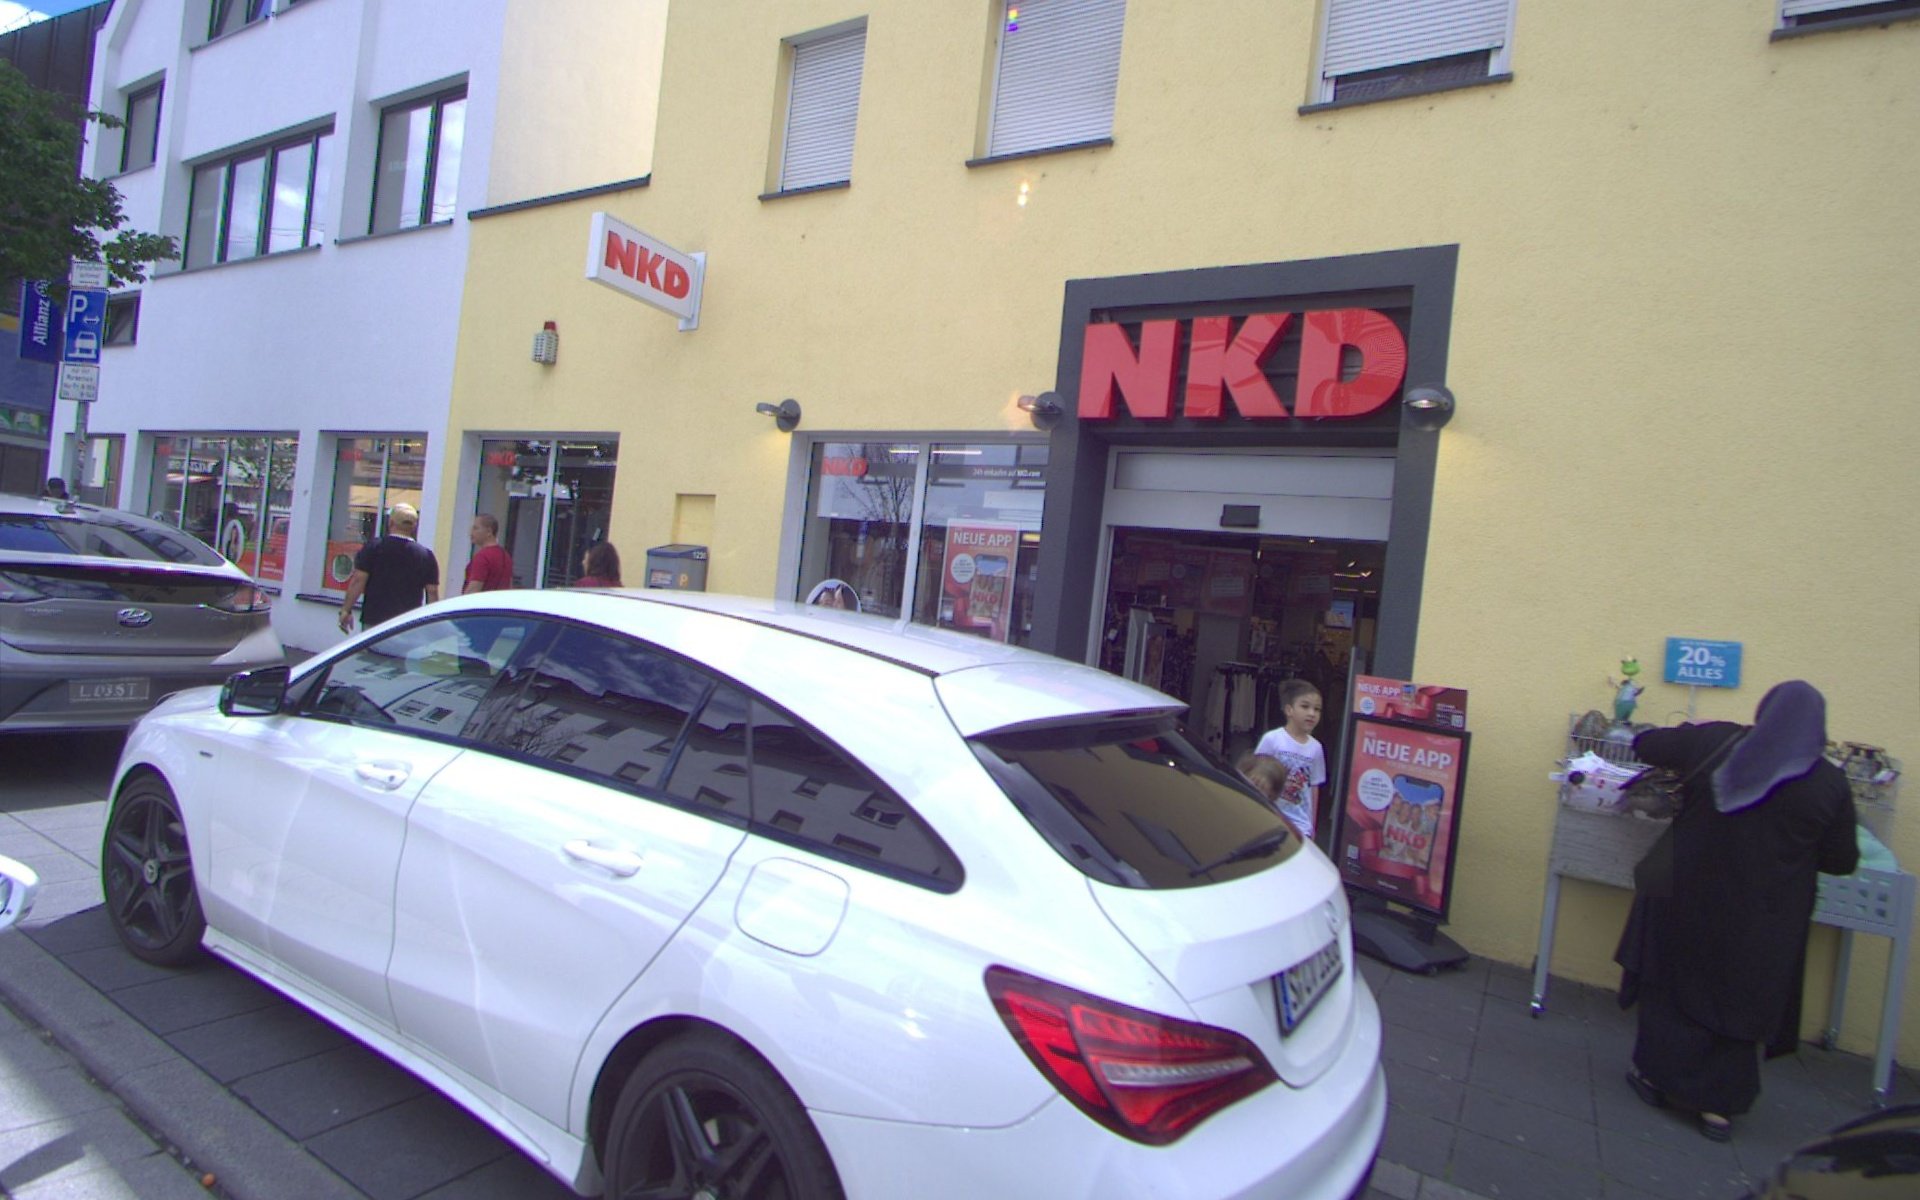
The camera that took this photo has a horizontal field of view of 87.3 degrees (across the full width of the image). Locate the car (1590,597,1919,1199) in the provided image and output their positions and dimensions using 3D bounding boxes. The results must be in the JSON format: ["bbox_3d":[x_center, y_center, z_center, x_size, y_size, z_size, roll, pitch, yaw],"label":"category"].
[{"bbox_3d":[2.998,1.081,0.415,4.445,1.489,1.694,8,-1,29],"label":"car"}]

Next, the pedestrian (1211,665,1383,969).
[{"bbox_3d":[1.699,1.056,5.085,0.443,1.380,0.532,6,0,-42],"label":"pedestrian"}]

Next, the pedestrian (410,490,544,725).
[{"bbox_3d":[-4.010,0.072,8.370,0.566,1.862,0.589,6,-2,32],"label":"pedestrian"}]

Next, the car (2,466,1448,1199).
[{"bbox_3d":[-1.230,0.499,3.347,4.877,1.492,1.633,6,-2,33],"label":"car"}]

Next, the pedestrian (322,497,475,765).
[{"bbox_3d":[-4.131,0.231,7.418,0.566,1.862,0.589,6,-2,32],"label":"pedestrian"}]

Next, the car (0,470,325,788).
[{"bbox_3d":[-6.075,0.017,6.300,4.282,1.492,1.725,6,-2,32],"label":"car"}]

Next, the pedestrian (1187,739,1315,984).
[{"bbox_3d":[1.315,1.164,4.557,0.348,1.013,0.292,6,0,-34],"label":"pedestrian"}]

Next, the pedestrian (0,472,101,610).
[{"bbox_3d":[-12.487,-0.801,13.771,0.744,1.757,0.742,6,-2,32],"label":"pedestrian"}]

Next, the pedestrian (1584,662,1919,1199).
[{"bbox_3d":[2.732,1.052,3.573,0.714,1.572,0.750,6,0,31],"label":"pedestrian"}]

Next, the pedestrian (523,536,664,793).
[{"bbox_3d":[-2.811,0.491,7.746,0.566,1.862,0.589,6,-2,32],"label":"pedestrian"}]
